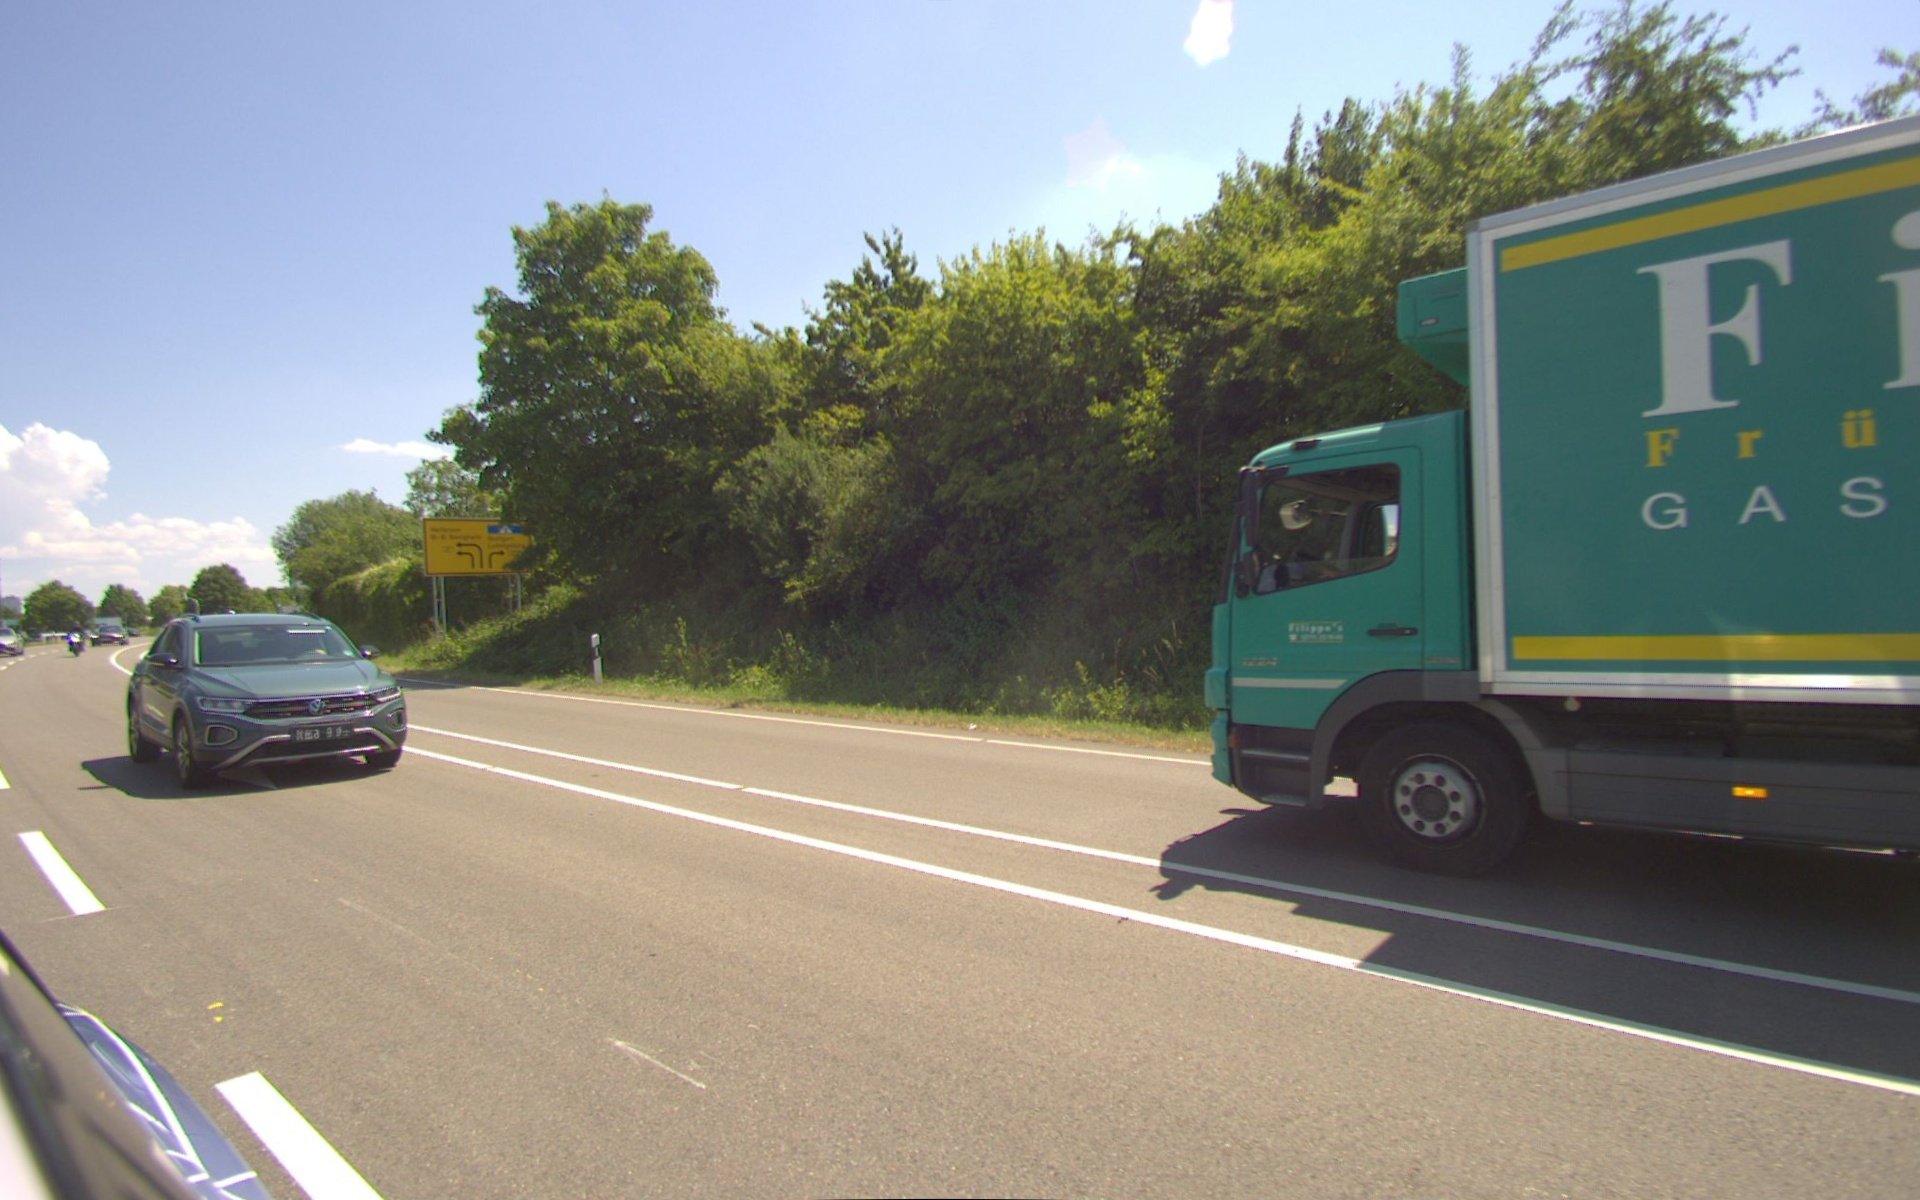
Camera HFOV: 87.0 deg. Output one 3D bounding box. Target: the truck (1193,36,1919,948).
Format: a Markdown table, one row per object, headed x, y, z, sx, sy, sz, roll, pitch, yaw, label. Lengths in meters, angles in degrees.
| x | y | z | sx | sy | sz | roll | pitch | yaw | label |
| --- | --- | --- | --- | --- | --- | --- | --- | --- | --- |
| 5.918 | -0.470 | 4.052 | 9.423 | 3.601 | 2.840 | -2 | -1 | 40 | truck |

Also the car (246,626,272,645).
| x | y | z | sx | sy | sz | roll | pitch | yaw | label |
| --- | --- | --- | --- | --- | --- | --- | --- | --- | --- |
| -65.601 | 3.294 | 94.752 | 1.967 | 1.641 | 4.207 | -1 | -1 | -34 | car |

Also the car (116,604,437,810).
| x | y | z | sx | sy | sz | roll | pitch | yaw | label |
| --- | --- | --- | --- | --- | --- | --- | --- | --- | --- |
| -7.017 | 0.905 | 10.185 | 4.392 | 1.598 | 1.814 | -2 | -1 | 44 | car |

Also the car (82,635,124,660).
| x | y | z | sx | sy | sz | roll | pitch | yaw | label |
| --- | --- | --- | --- | --- | --- | --- | --- | --- | --- |
| -59.859 | 3.313 | 70.728 | 2.085 | 1.603 | 4.459 | -1 | -1 | -39 | car |

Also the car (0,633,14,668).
| x | y | z | sx | sy | sz | roll | pitch | yaw | label |
| --- | --- | --- | --- | --- | --- | --- | --- | --- | --- |
| -47.904 | 2.580 | 49.563 | 1.905 | 1.598 | 4.186 | -4 | -1 | -39 | car |

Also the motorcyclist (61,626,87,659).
| x | y | z | sx | sy | sz | roll | pitch | yaw | label |
| --- | --- | --- | --- | --- | --- | --- | --- | --- | --- |
| -41.290 | 1.997 | 47.172 | 0.847 | 1.500 | 1.164 | 1 | -3 | -39 | motorcyclist |

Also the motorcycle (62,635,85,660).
| x | y | z | sx | sy | sz | roll | pitch | yaw | label |
| --- | --- | --- | --- | --- | --- | --- | --- | --- | --- |
| -41.346 | 2.212 | 47.213 | 0.723 | 1.147 | 2.076 | 1 | -3 | -39 | motorcycle |
